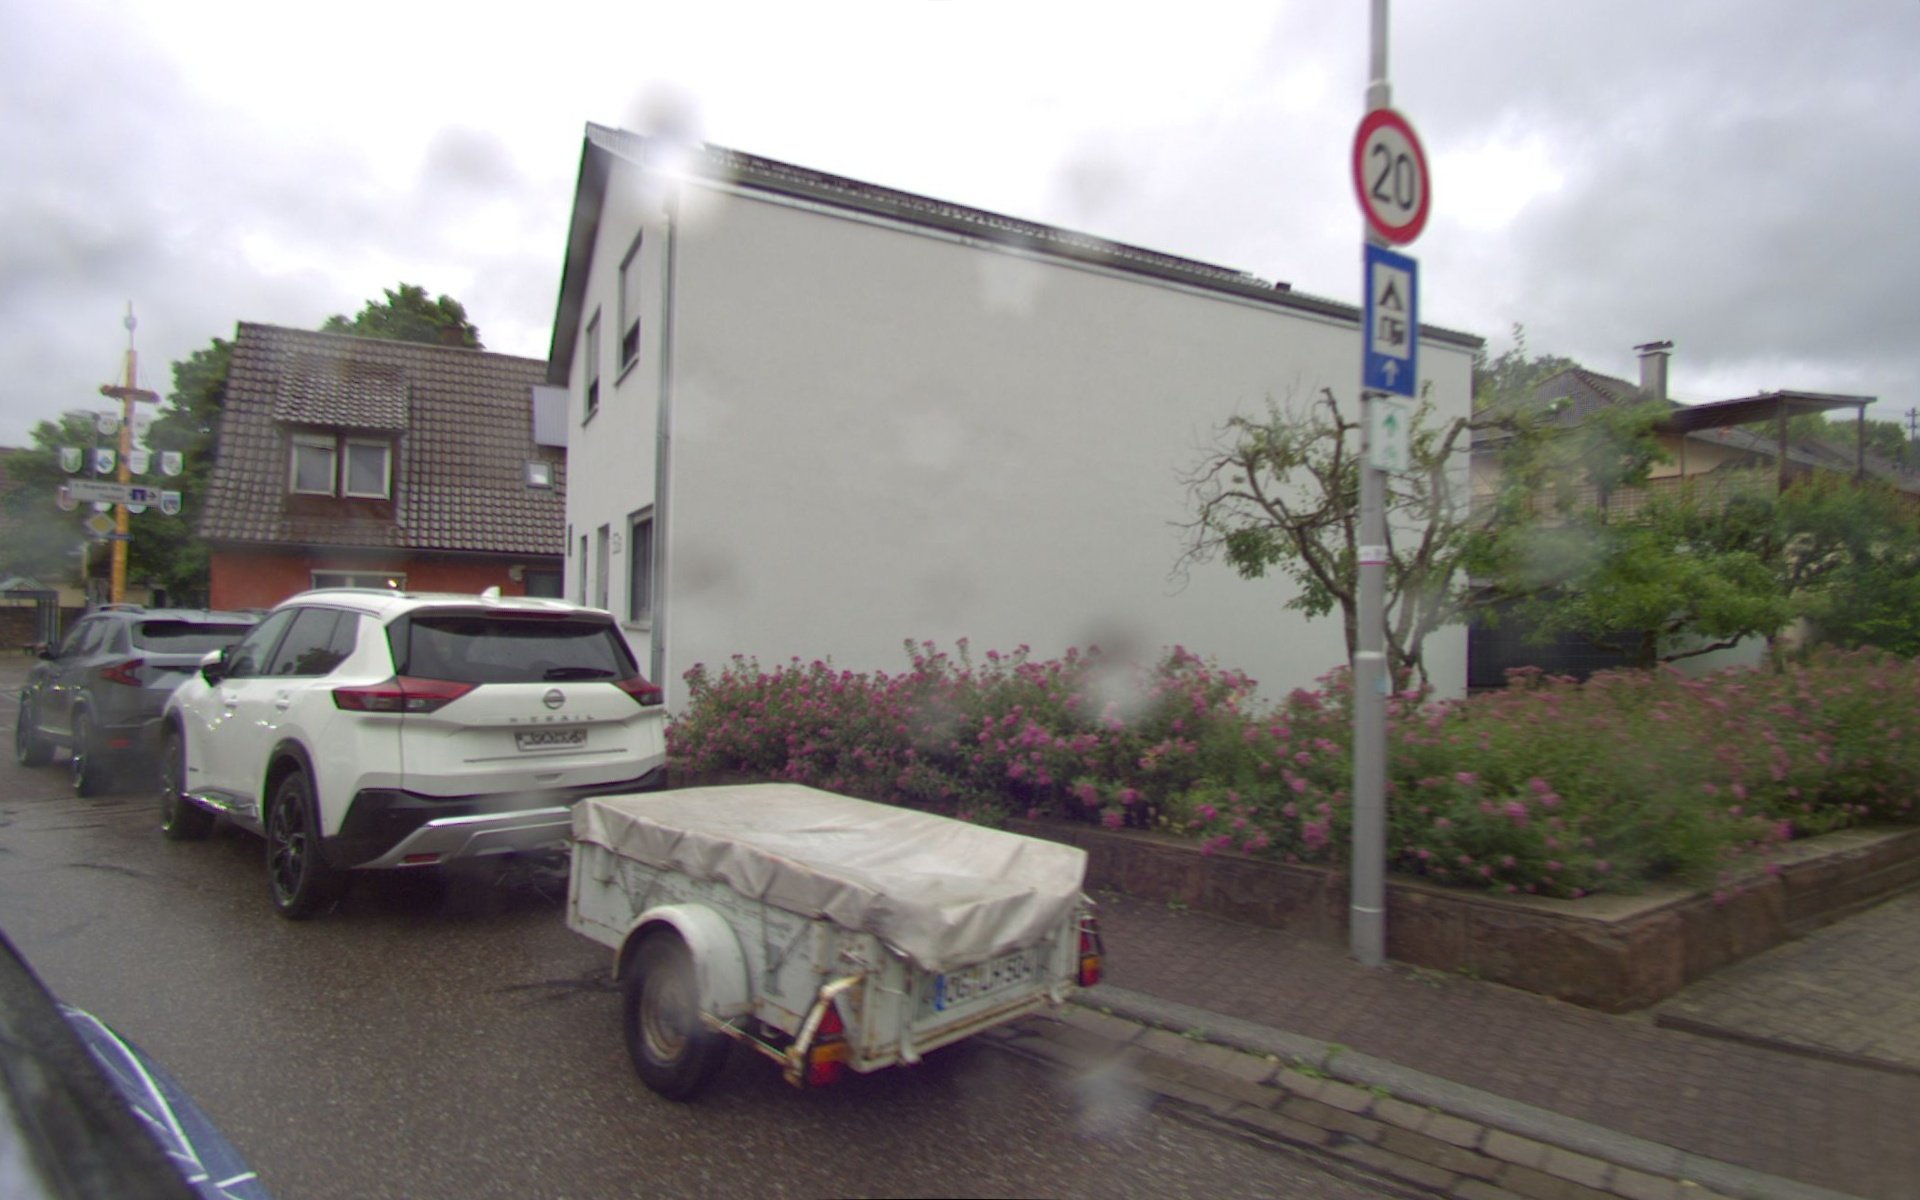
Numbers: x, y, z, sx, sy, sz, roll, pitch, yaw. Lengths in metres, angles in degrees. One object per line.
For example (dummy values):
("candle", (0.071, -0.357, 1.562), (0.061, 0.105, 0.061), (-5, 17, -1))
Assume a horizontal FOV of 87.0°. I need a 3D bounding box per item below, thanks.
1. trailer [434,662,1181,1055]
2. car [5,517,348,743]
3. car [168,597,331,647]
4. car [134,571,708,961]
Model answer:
("trailer", (-0.700, 0.729, 3.952), (2.674, 0.835, 1.468), (1, -2, 40))
("car", (-7.847, 0.295, 10.019), (4.012, 1.793, 1.794), (-2, -2, 39))
("car", (-24.234, 0.733, 34.740), (4.384, 1.561, 1.888), (-1, -1, -29))
("car", (-3.645, 0.737, 6.426), (4.417, 1.649, 1.730), (0, -3, 42))
